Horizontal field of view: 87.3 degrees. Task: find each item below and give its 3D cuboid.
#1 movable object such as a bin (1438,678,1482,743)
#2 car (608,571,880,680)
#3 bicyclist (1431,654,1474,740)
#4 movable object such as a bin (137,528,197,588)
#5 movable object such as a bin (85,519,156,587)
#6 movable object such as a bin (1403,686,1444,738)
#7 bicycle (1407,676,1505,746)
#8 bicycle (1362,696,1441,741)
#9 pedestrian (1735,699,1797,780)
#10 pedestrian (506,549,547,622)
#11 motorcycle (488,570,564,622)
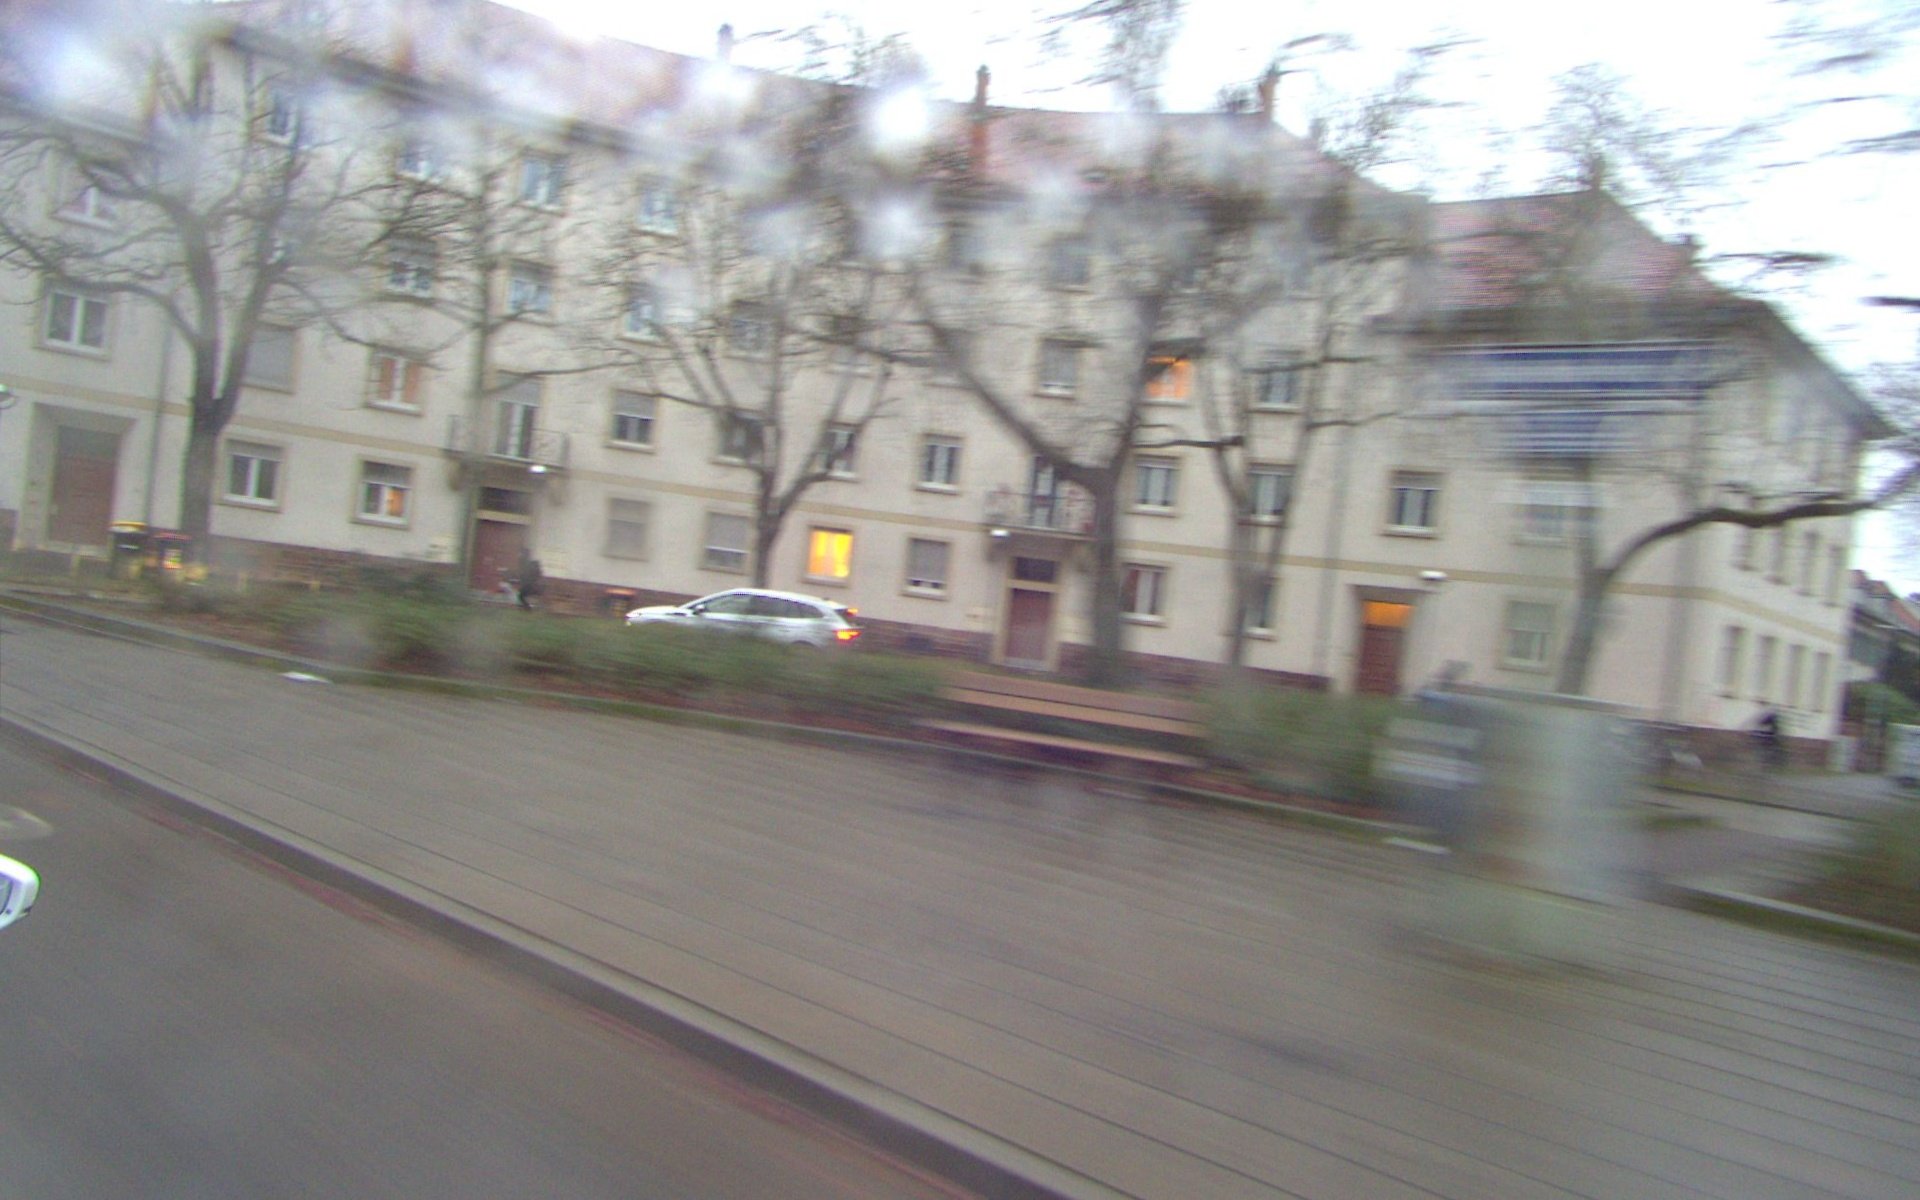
[{"bbox_3d":[10.467,2.307,21.083,0.639,1.243,0.528,7,0,19],"label":"movable object such as a bin"},{"bbox_3d":[-4.046,0.434,19.319,4.663,1.530,1.898,6,3,3],"label":"car"},{"bbox_3d":[11.404,2.238,23.296,0.668,1.909,0.467,7,0,31],"label":"bicyclist"},{"bbox_3d":[-16.824,-0.873,21.358,0.691,1.132,0.537,9,-3,-16],"label":"movable object such as a bin"},{"bbox_3d":[-17.599,-0.973,21.106,0.842,1.265,0.521,9,-3,-16],"label":"movable object such as a bin"},{"bbox_3d":[9.803,2.372,21.308,0.639,0.992,0.528,7,0,19],"label":"movable object such as a bin"},{"bbox_3d":[11.451,2.548,23.265,1.882,1.307,0.467,7,0,32],"label":"bicycle"},{"bbox_3d":[10.091,2.700,22.999,1.562,0.775,0.339,7,0,29],"label":"bicycle"},{"bbox_3d":[18.161,3.141,22.667,1.114,1.662,0.752,7,0,-40],"label":"pedestrian"},{"bbox_3d":[-10.633,-0.365,24.709,0.705,1.681,0.685,7,1,-20],"label":"pedestrian"},{"bbox_3d":[-11.035,-0.103,25.607,1.575,1.120,0.569,7,2,-5],"label":"motorcycle"}]
